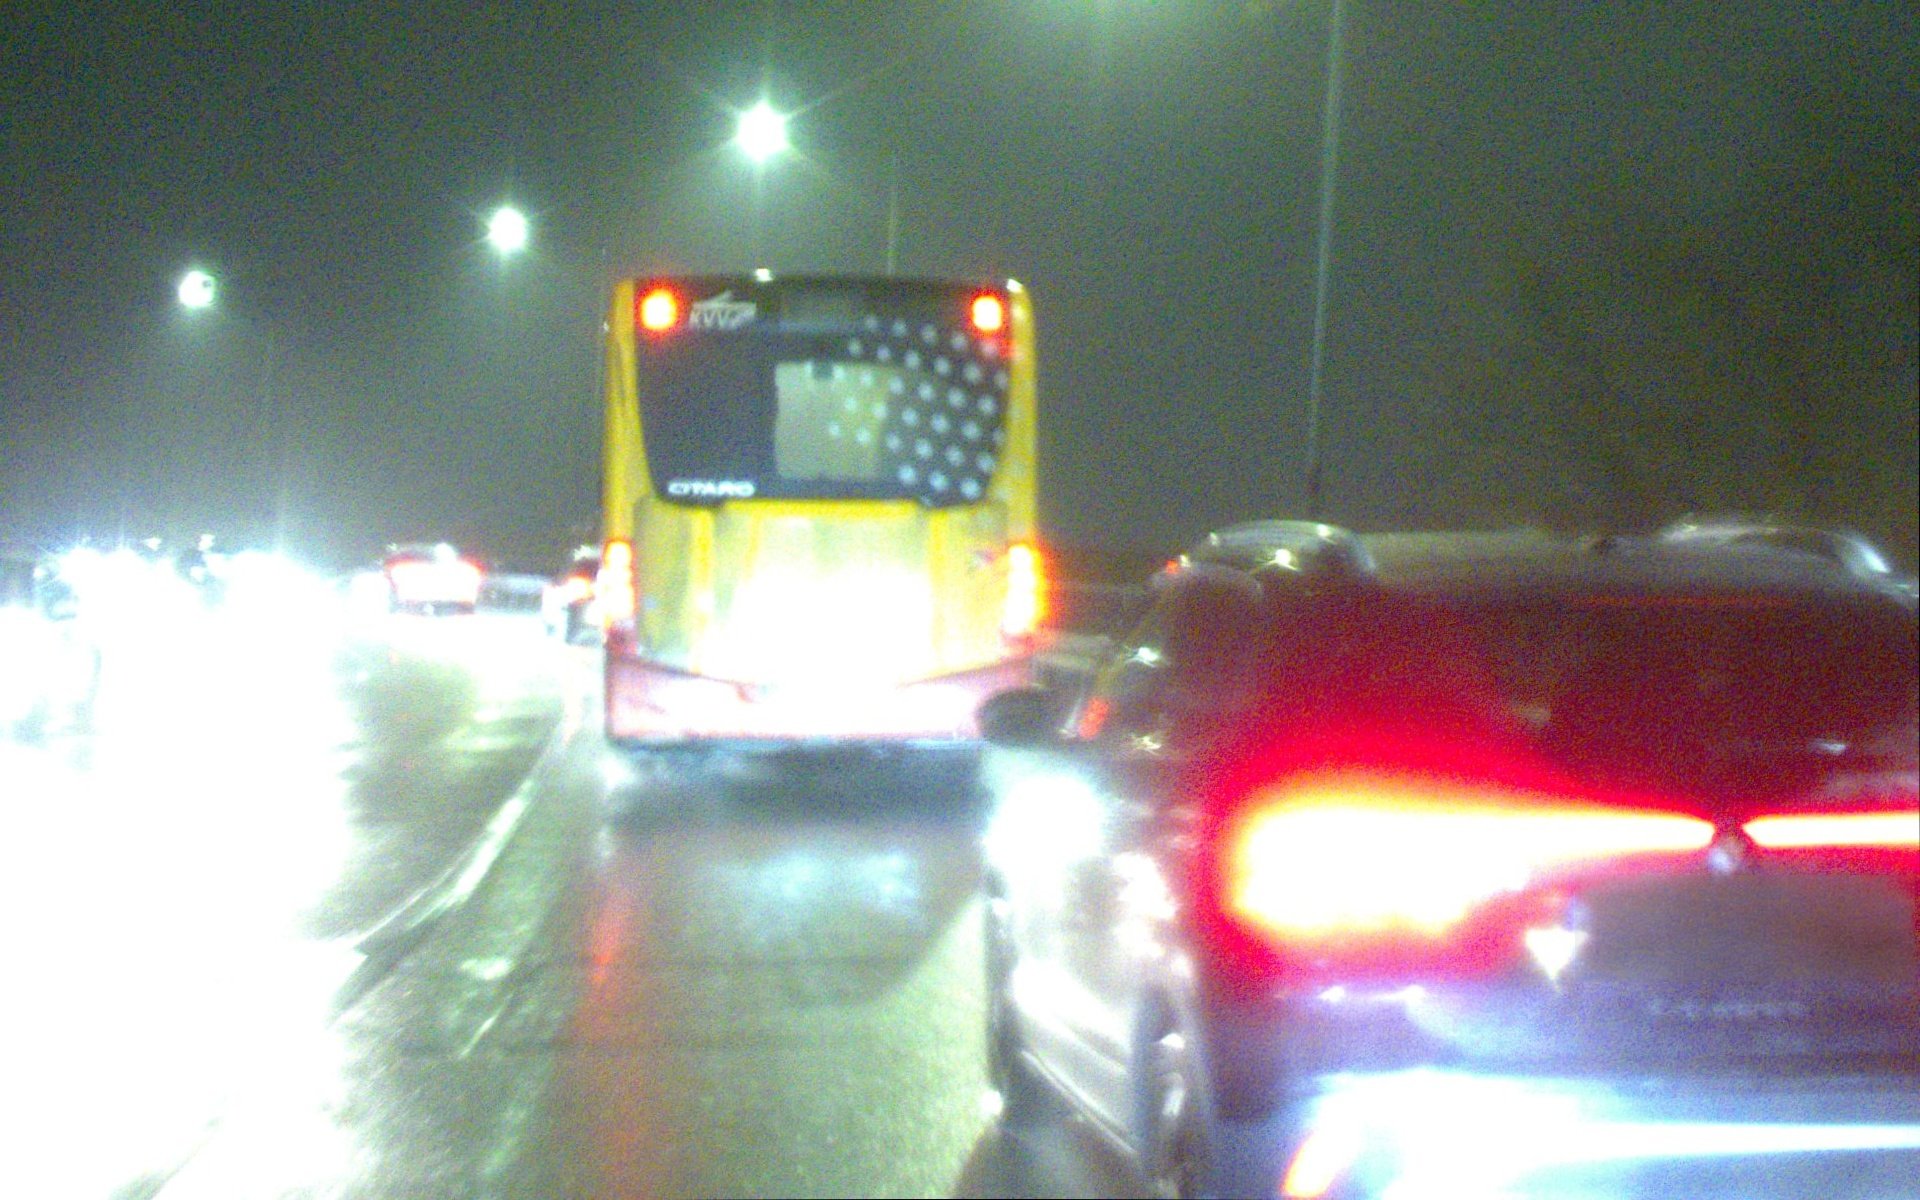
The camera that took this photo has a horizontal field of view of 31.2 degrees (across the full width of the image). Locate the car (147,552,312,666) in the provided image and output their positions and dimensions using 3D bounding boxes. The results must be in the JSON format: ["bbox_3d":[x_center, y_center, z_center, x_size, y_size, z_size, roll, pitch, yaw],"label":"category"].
[{"bbox_3d":[-9.589,0.084,45.388,1.766,1.422,4.220,-1,1,-7],"label":"car"}]

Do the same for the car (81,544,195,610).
[{"bbox_3d":[-18.768,-0.542,78.393,1.895,1.434,4.064,0,1,-23],"label":"car"}]

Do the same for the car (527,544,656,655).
[{"bbox_3d":[-5.782,-0.036,53.683,1.635,1.650,3.711,1,1,-11],"label":"car"}]

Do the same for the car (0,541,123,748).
[{"bbox_3d":[-7.879,0.293,27.257,1.766,1.512,3.949,1,1,-4],"label":"car"}]

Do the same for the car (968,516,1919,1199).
[{"bbox_3d":[1.096,0.635,7.558,1.855,1.581,4.001,0,1,-4],"label":"car"}]

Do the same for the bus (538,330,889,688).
[{"bbox_3d":[-2.739,-1.015,36.033,3.048,3.120,8.081,-4,3,-6],"label":"bus"}]

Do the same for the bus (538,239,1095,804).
[{"bbox_3d":[-1.505,-0.590,25.581,3.083,3.122,12.700,1,1,-6],"label":"bus"}]

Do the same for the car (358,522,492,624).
[{"bbox_3d":[-10.919,-0.564,70.015,1.993,2.007,4.001,0,1,-19],"label":"car"}]
